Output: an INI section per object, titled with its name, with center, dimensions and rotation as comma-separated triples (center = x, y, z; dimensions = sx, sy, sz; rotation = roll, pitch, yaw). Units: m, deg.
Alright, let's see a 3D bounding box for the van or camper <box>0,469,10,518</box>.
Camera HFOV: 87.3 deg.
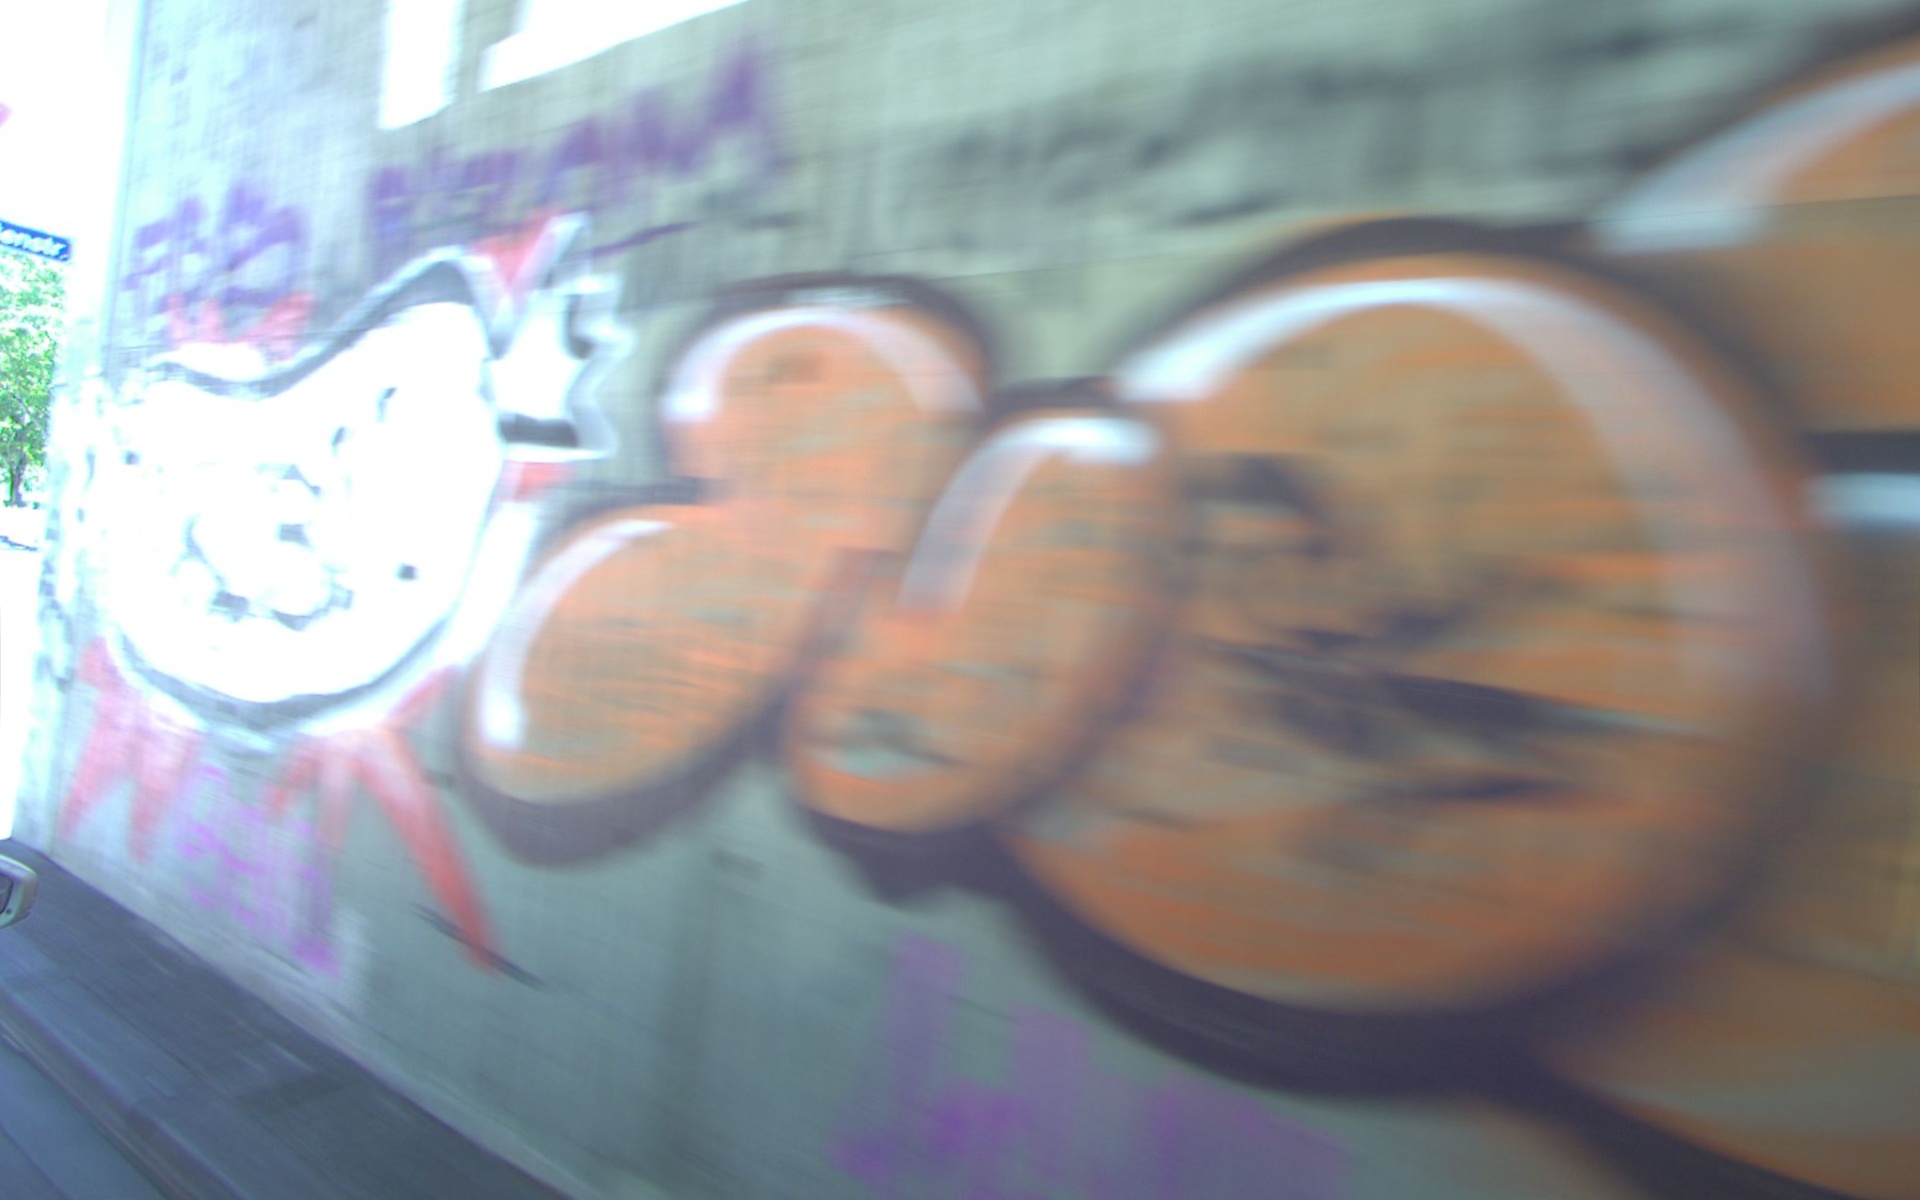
[van or camper]
center = -61.293, -6.736, 60.327
dimensions = 2.541, 2.967, 6.062
rotation = 6, 1, 42
